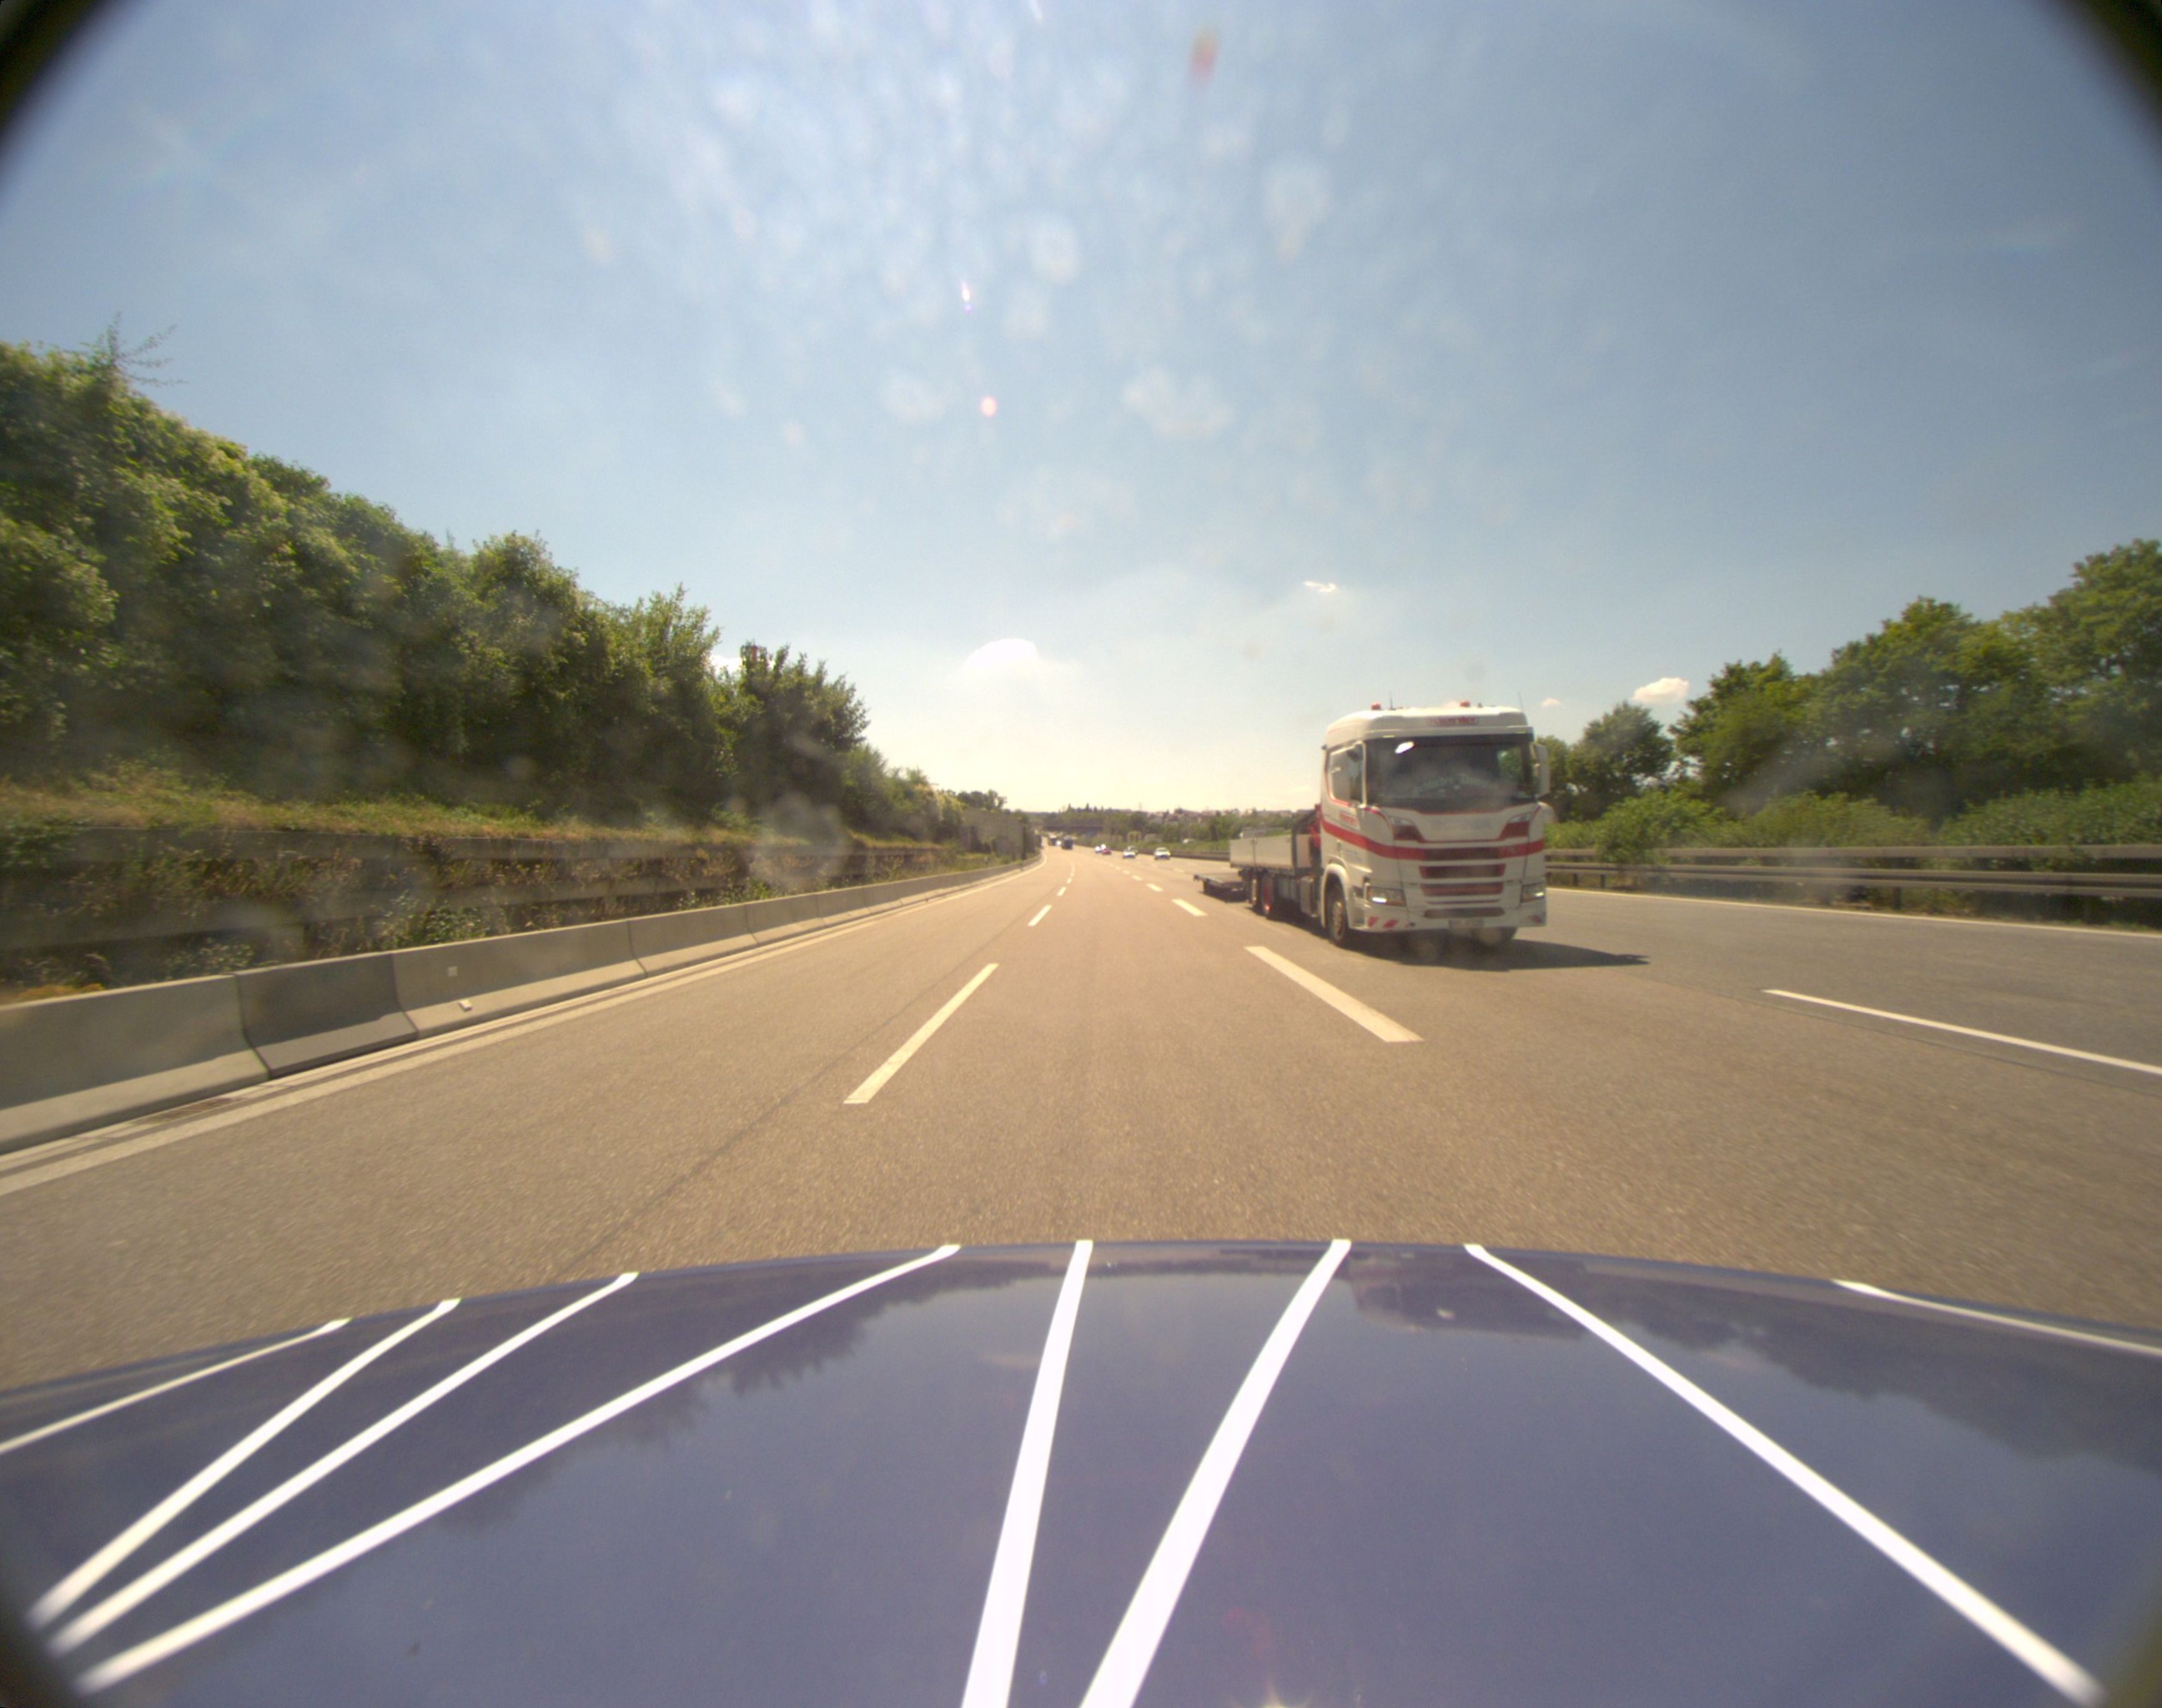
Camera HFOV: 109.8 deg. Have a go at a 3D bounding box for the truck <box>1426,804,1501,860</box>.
[{"bbox_3d":[28.233,-1.557,56.342,2.701,3.866,5.745,-2,0,2],"label":"truck"}]

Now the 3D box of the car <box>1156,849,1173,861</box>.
[{"bbox_3d":[11.212,0.106,102.630,1.883,1.543,4.000,-2,0,1],"label":"car"}]

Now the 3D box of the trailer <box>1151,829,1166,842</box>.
[{"bbox_3d":[24.007,-5.742,235.590,2.545,3.925,13.714,-2,1,-3],"label":"trailer"}]

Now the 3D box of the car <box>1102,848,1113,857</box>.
[{"bbox_3d":[5.625,-0.286,162.783,1.999,1.832,3.999,-2,1,-1],"label":"car"}]

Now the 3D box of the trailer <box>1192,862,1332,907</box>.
[{"bbox_3d":[5.357,0.849,23.965,2.721,0.929,7.759,-2,1,2],"label":"trailer"}]

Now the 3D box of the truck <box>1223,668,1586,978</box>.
[{"bbox_3d":[5.034,-0.452,14.822,2.721,3.780,10.671,-2,1,2],"label":"truck"}]

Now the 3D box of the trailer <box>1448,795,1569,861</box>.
[{"bbox_3d":[28.061,-1.582,50.545,2.696,3.866,9.734,-2,0,2],"label":"trailer"}]

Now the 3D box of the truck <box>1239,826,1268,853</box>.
[{"bbox_3d":[27.438,-2.282,121.095,3.341,4.066,4.827,-2,1,0],"label":"truck"}]

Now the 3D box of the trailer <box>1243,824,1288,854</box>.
[{"bbox_3d":[27.412,-2.225,113.922,3.400,4.066,13.925,-2,1,0],"label":"trailer"}]

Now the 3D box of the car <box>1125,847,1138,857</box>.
[{"bbox_3d":[8.158,-0.365,122.154,1.786,1.494,4.170,-1,1,0],"label":"car"}]

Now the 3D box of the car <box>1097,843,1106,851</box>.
[{"bbox_3d":[4.938,-1.766,185.100,1.999,1.832,3.999,-2,1,-1],"label":"car"}]
